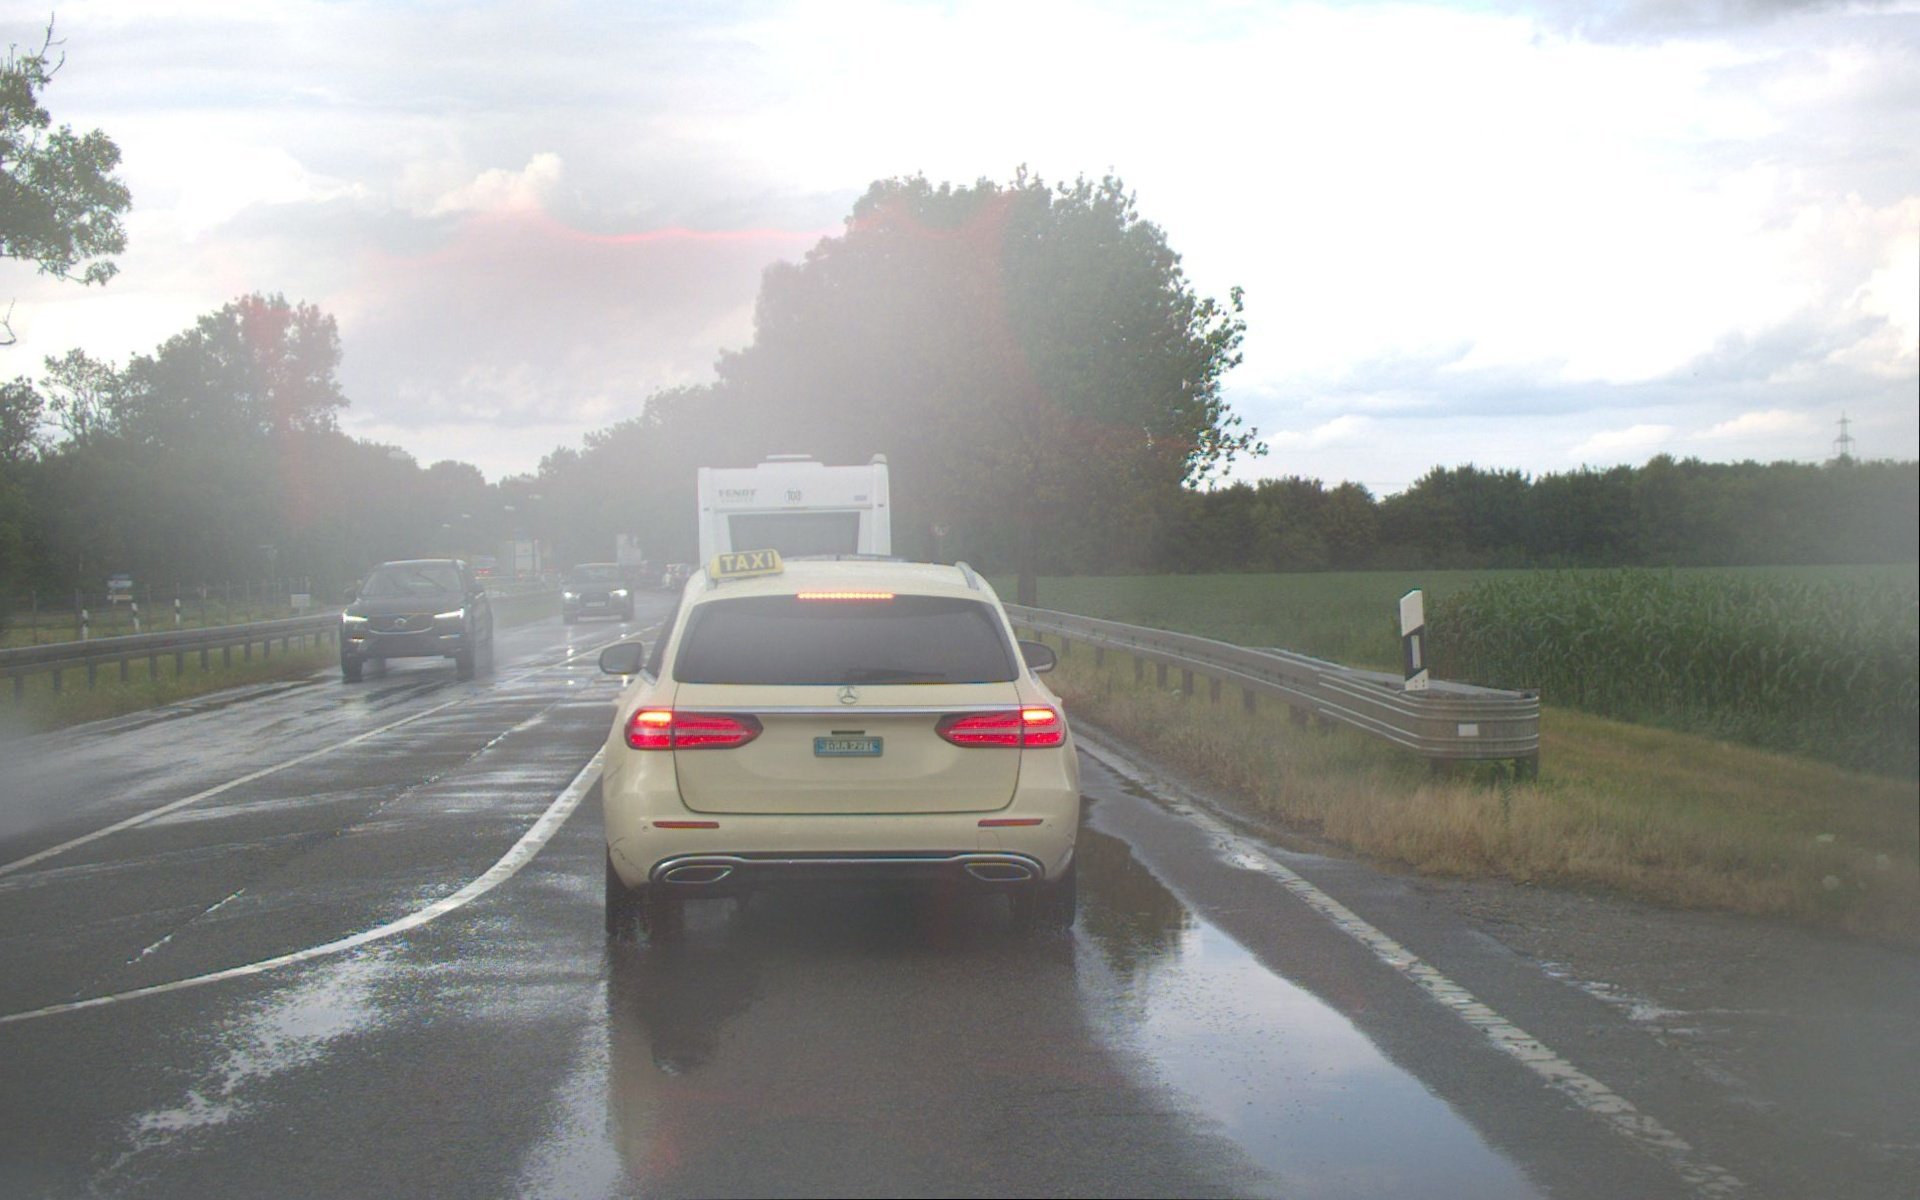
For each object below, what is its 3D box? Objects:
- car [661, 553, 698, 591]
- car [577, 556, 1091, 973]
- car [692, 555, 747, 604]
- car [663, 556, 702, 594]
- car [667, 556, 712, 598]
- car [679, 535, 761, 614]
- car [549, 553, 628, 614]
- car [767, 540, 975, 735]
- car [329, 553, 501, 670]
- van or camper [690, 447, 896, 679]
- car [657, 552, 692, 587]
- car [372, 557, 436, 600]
[{"bbox_3d":[-15.536,-1.548,190.447,1.993,2.044,4.001,-1,1,-5],"label":"car"},{"bbox_3d":[-0.507,0.560,14.309,1.825,1.480,4.145,0,1,-2],"label":"car"},{"bbox_3d":[-9.955,-0.858,142.336,1.993,2.007,4.001,-1,1,-8],"label":"car"},{"bbox_3d":[-14.836,-1.333,183.643,1.993,2.007,4.001,-1,1,-5],"label":"car"},{"bbox_3d":[-13.424,-1.161,170.438,1.993,2.007,4.001,-1,1,-7],"label":"car"},{"bbox_3d":[-6.918,-0.748,99.591,2.246,2.191,5.413,-1,1,-3],"label":"car"},{"bbox_3d":[-10.069,-0.467,93.344,1.768,1.518,4.142,-3,1,-2],"label":"car"},{"bbox_3d":[-0.801,0.267,29.350,1.627,1.524,3.933,-1,1,-3],"label":"car"},{"bbox_3d":[-8.074,0.129,51.258,1.944,1.575,4.444,-3,1,-2],"label":"car"},{"bbox_3d":[-2.087,-0.494,43.027,2.350,2.671,5.769,-1,1,-3],"label":"van or camper"},{"bbox_3d":[-16.731,-1.782,201.284,1.993,2.007,4.001,-1,1,-5],"label":"car"},{"bbox_3d":[-22.293,-0.871,137.935,1.993,1.645,4.000,-1,1,-1],"label":"car"}]
